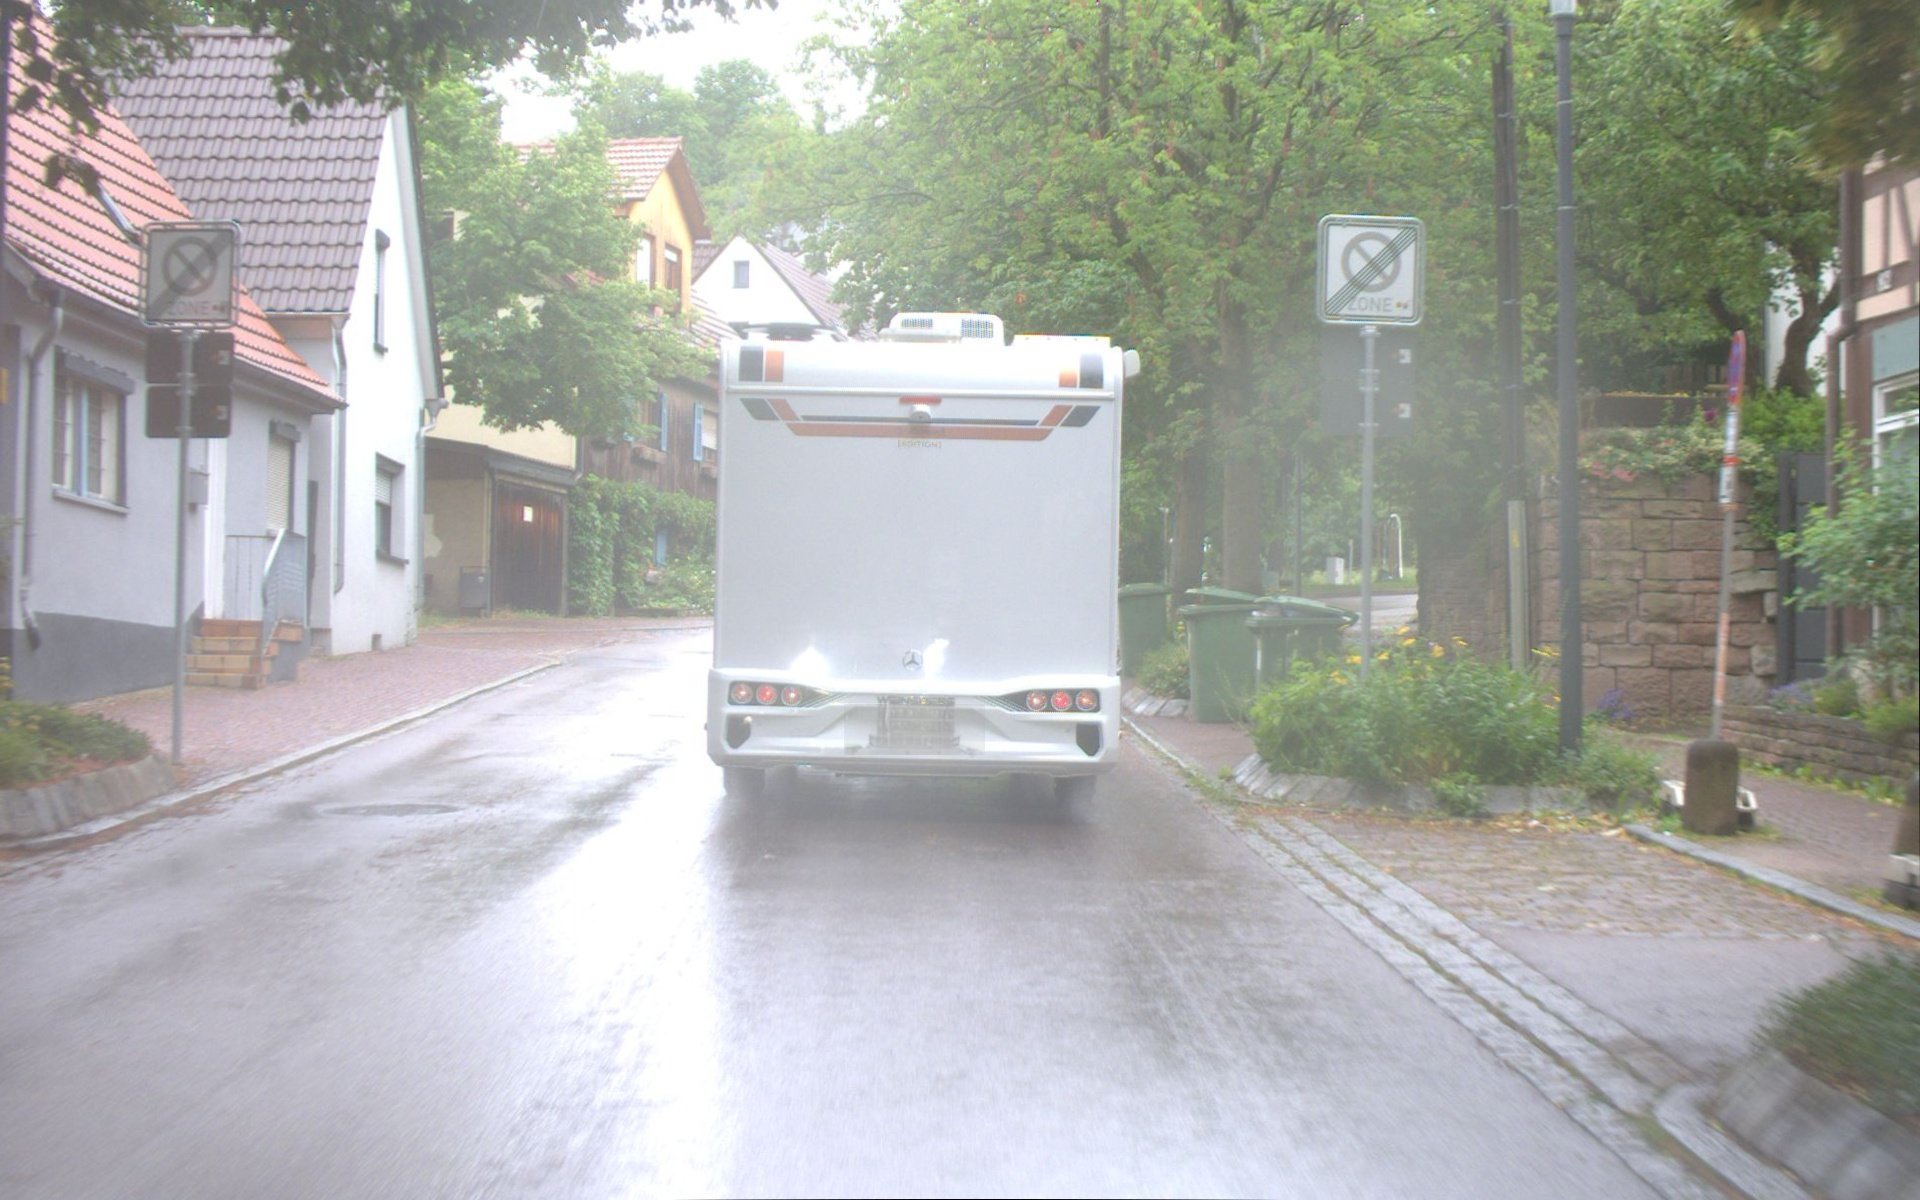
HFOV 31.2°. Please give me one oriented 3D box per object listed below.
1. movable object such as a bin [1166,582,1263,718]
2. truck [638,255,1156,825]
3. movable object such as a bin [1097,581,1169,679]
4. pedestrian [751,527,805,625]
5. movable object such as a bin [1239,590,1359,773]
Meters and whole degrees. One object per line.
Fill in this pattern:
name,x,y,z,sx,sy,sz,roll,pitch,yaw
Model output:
movable object such as a bin,2.173,0.421,29.413,0.723,1.139,0.703,1,0,-3
truck,-0.386,-0.327,21.386,2.694,2.976,6.237,1,0,-1
movable object such as a bin,1.994,0.343,39.715,0.769,1.103,0.884,-1,0,0
pedestrian,-3.513,-0.468,66.404,0.794,1.861,0.915,1,0,13
movable object such as a bin,2.313,0.547,23.502,0.721,1.208,0.727,1,0,0
